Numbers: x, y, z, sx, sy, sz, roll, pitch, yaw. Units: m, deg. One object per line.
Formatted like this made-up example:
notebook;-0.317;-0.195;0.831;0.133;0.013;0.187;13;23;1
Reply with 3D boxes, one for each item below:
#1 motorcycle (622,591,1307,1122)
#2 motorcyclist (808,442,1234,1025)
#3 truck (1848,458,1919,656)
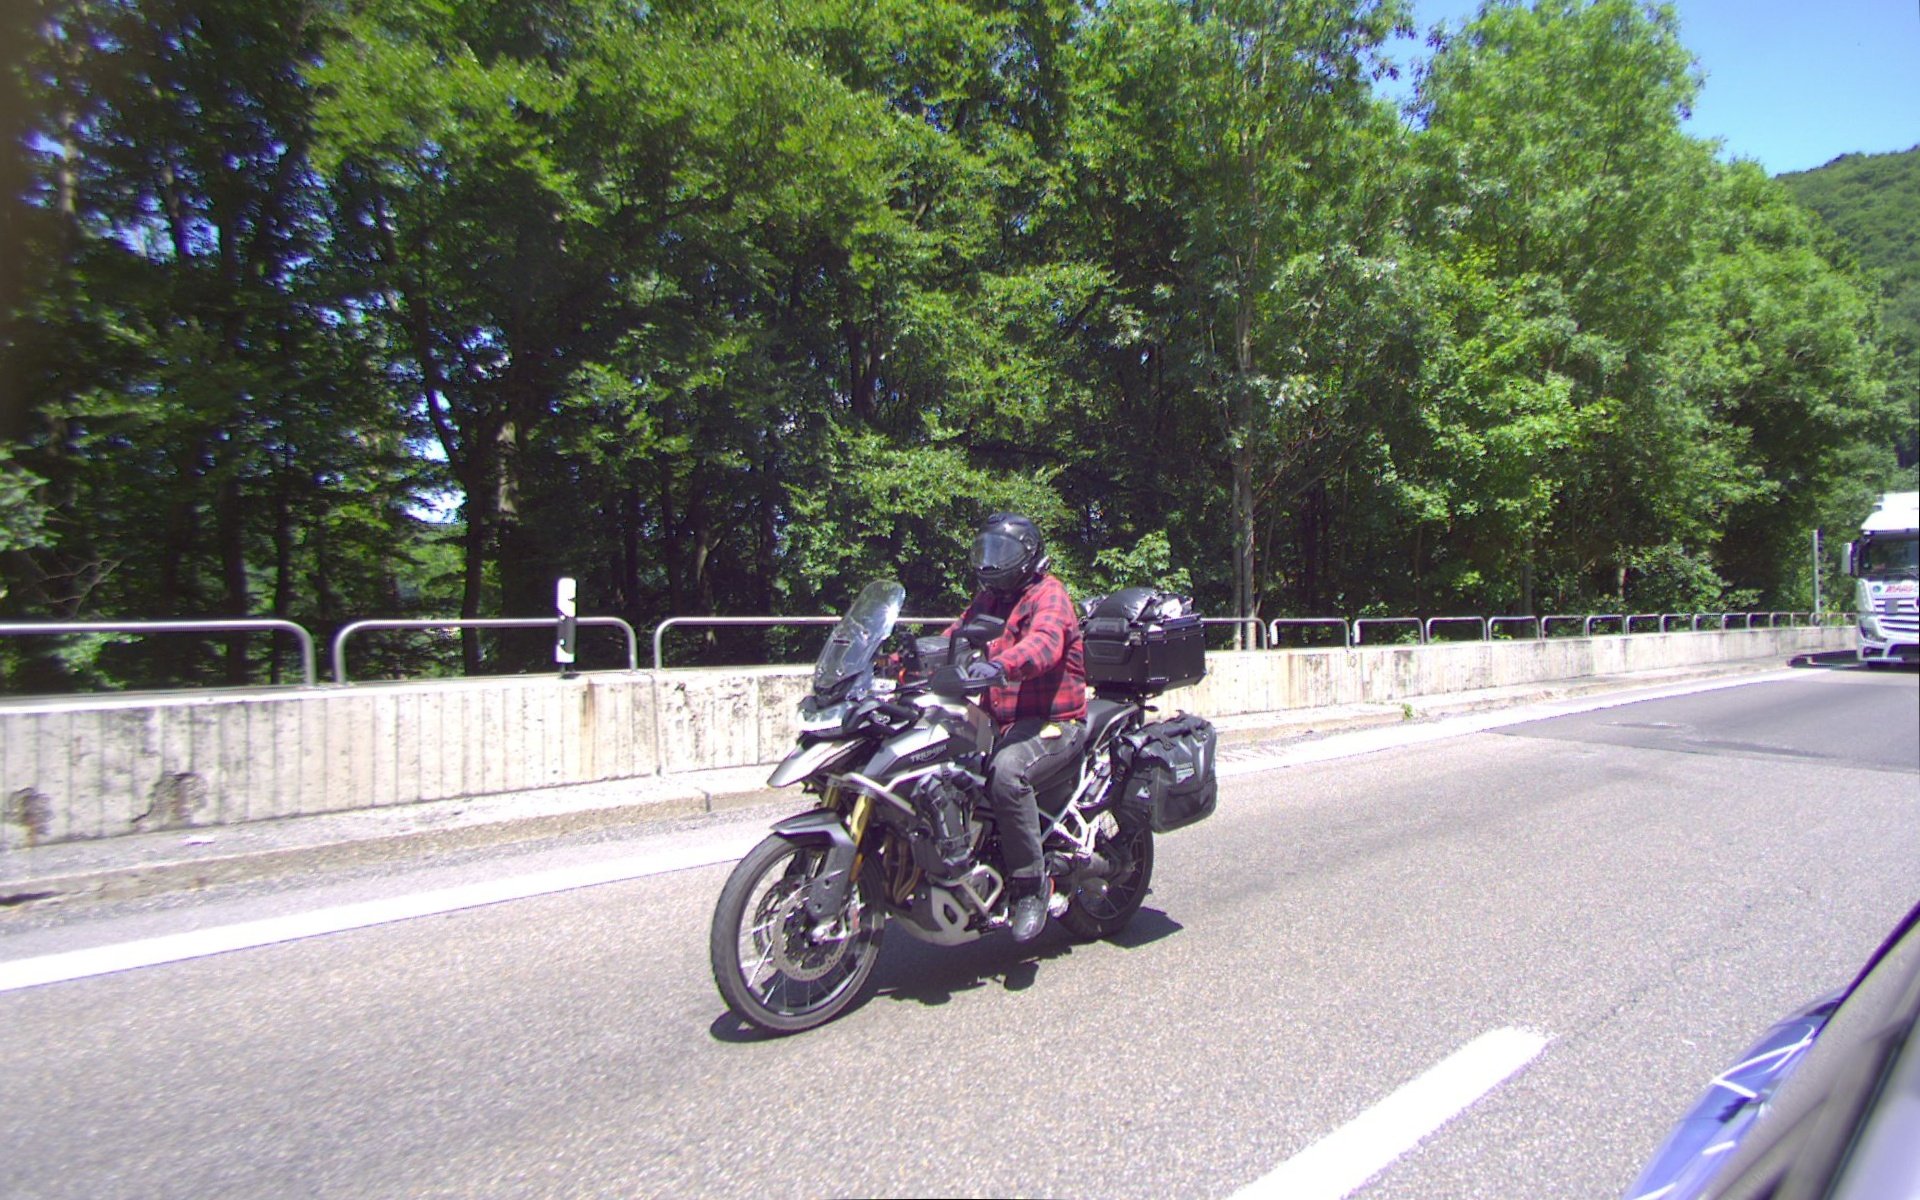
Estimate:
motorcycle;0.157;0.693;3.943;2.631;1.437;0.975;0;0;-38
motorcyclist;0.235;0.416;3.999;1.313;1.823;1.063;0;-1;-38
truck;26.896;-0.967;26.233;16.405;4.184;2.969;-1;1;-39
